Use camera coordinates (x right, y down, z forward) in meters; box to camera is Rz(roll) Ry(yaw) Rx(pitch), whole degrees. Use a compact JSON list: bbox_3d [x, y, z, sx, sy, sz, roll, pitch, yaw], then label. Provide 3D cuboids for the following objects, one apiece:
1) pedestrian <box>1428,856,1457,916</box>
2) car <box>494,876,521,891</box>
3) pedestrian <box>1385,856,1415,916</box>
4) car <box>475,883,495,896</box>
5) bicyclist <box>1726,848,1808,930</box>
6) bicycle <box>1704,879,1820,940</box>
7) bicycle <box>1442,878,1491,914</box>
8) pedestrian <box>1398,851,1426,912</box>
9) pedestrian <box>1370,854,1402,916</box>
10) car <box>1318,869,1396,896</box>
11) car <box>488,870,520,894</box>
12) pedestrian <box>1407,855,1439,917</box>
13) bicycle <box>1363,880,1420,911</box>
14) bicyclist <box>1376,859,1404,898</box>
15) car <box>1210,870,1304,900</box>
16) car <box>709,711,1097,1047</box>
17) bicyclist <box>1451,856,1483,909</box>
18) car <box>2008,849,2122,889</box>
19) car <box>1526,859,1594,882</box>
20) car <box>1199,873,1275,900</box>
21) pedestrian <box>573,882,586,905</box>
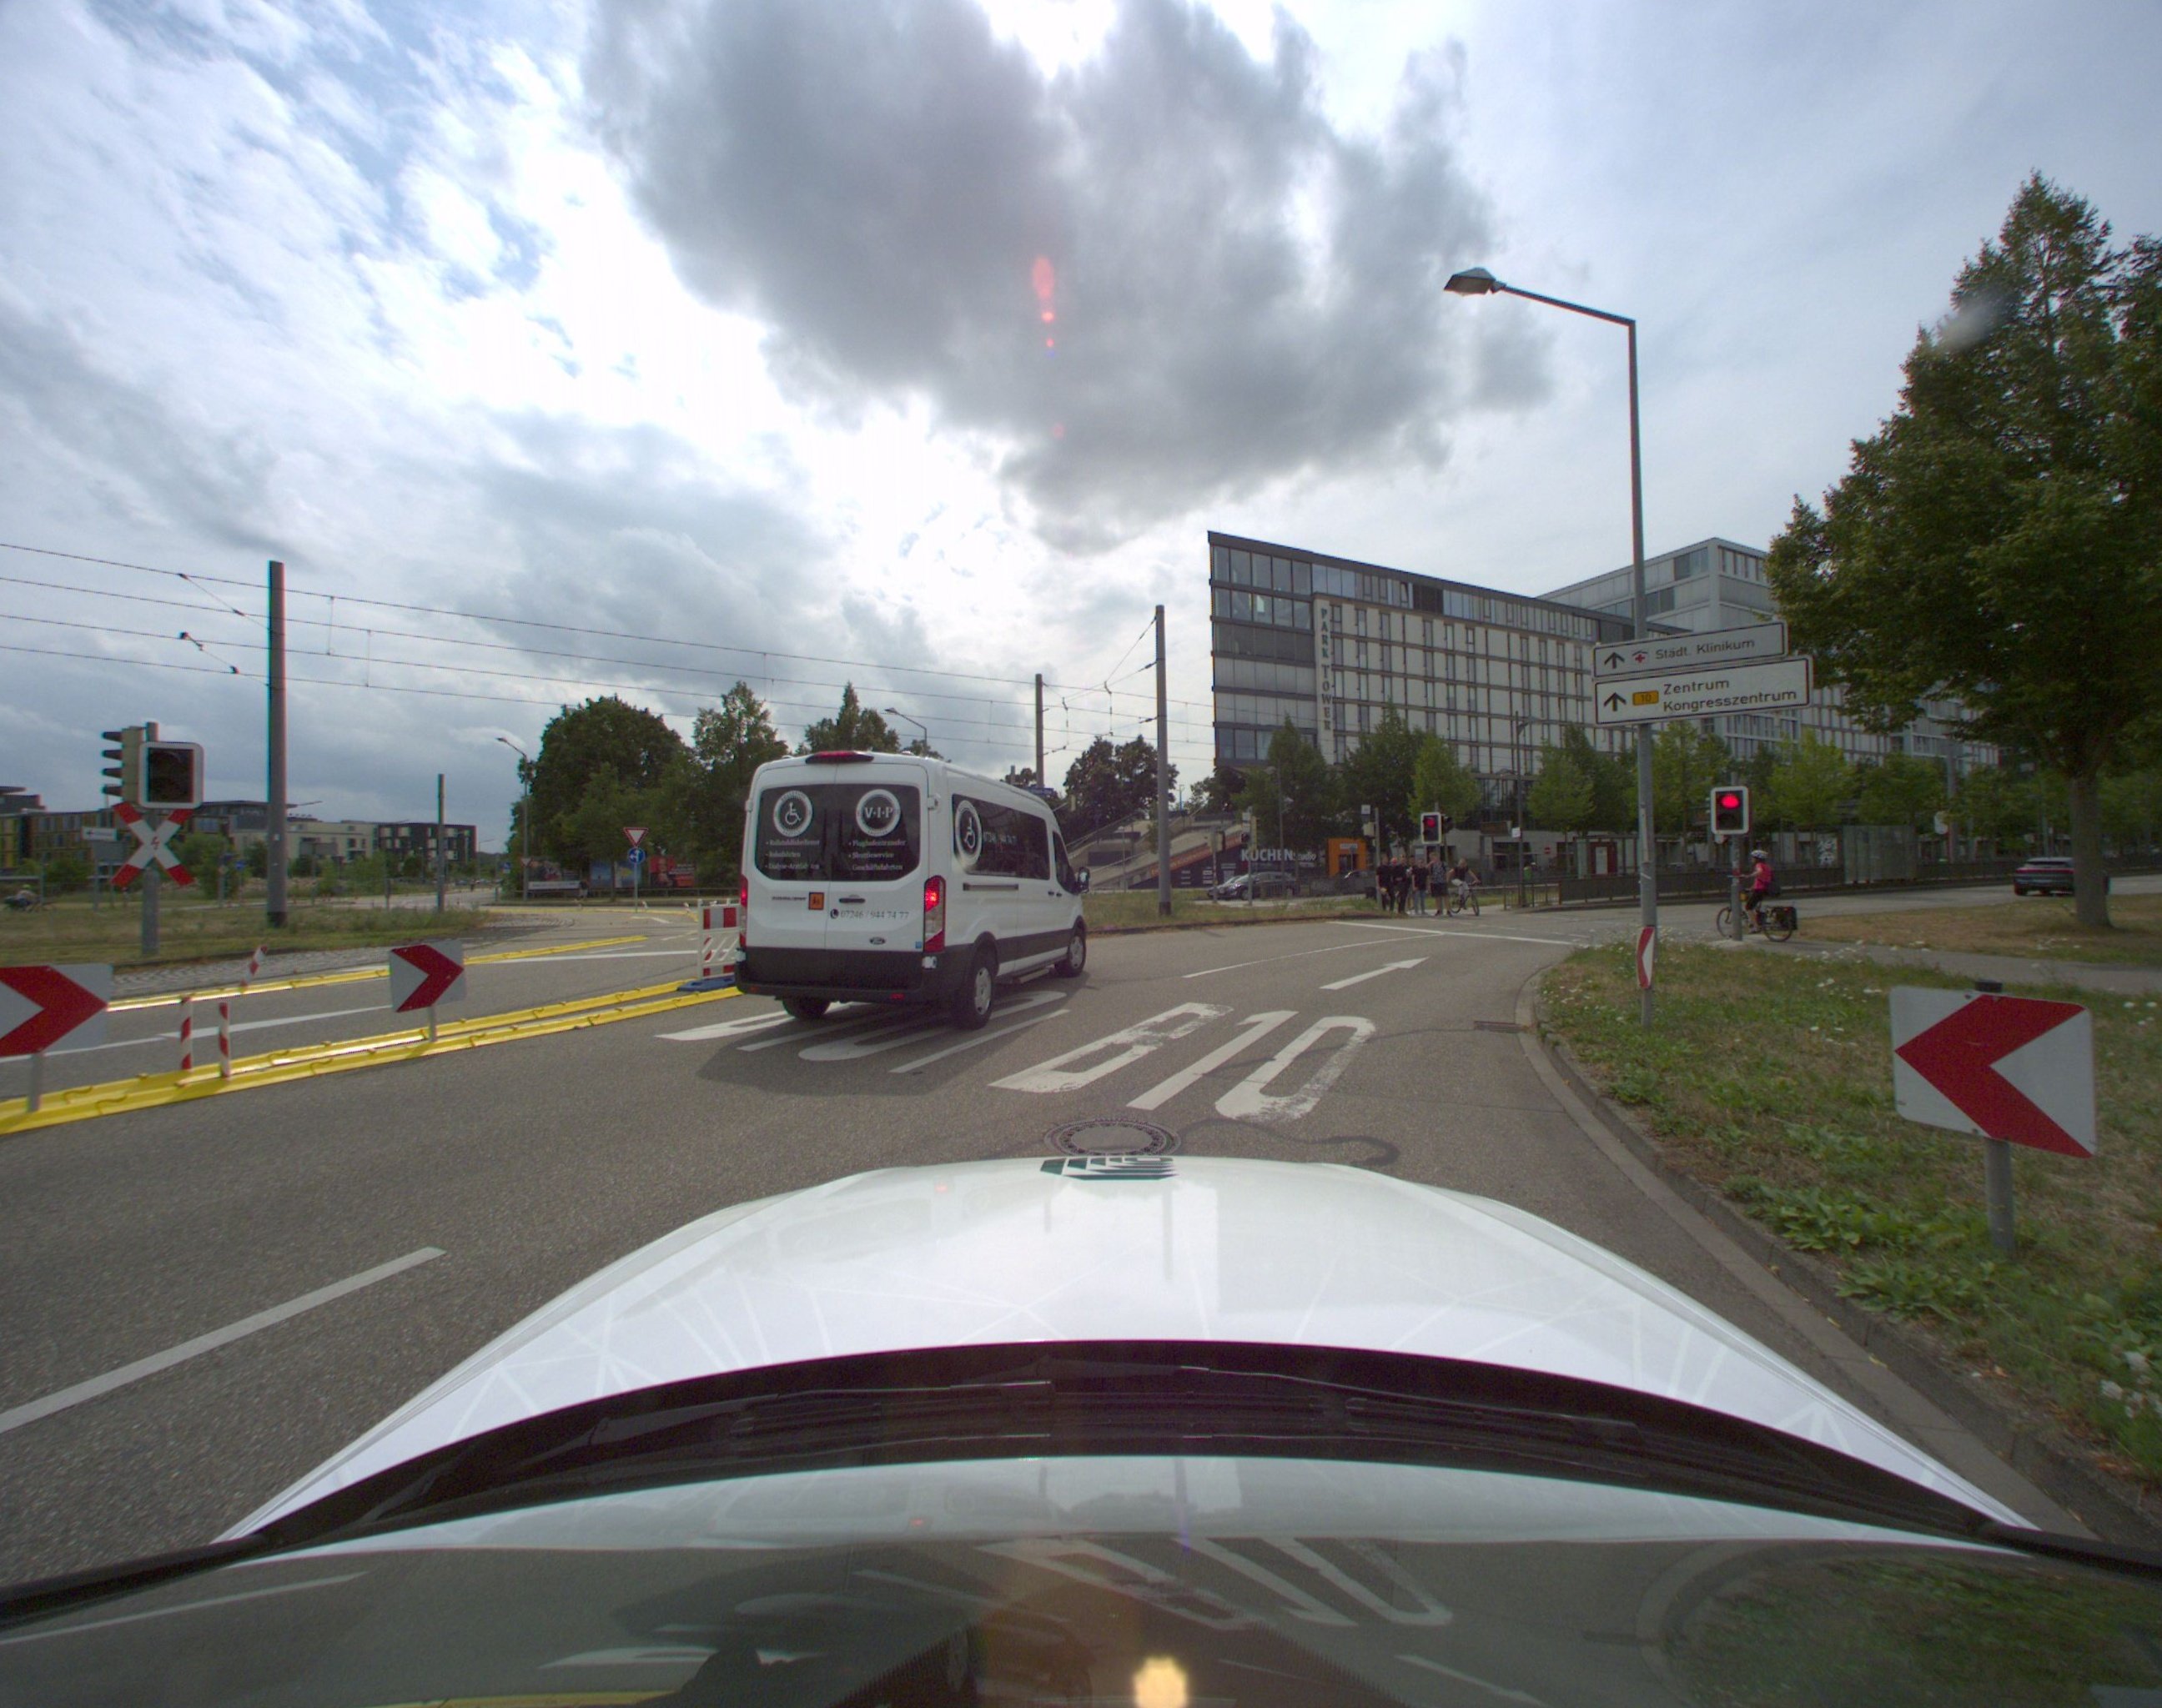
[{"bbox_3d":[10.825,0.946,24.381,0.582,1.781,0.547,0,-1,-31],"label":"pedestrian"},{"bbox_3d":[-73.783,3.801,104.813,2.003,1.849,3.967,0,-3,-24],"label":"car"},{"bbox_3d":[9.622,0.954,24.555,0.635,1.781,0.547,0,-1,-31],"label":"pedestrian"},{"bbox_3d":[-91.841,5.467,125.507,2.006,1.849,3.960,1,-3,-30],"label":"car"},{"bbox_3d":[14.164,0.718,16.847,0.785,1.627,1.050,-1,-1,4],"label":"bicyclist"},{"bbox_3d":[14.193,1.127,17.058,0.785,1.168,2.043,-1,-1,4],"label":"bicycle"},{"bbox_3d":[11.884,1.282,25.149,0.546,1.058,1.709,0,-1,-7],"label":"bicycle"},{"bbox_3d":[10.154,0.836,24.980,0.533,1.862,0.547,0,-1,-31],"label":"pedestrian"},{"bbox_3d":[9.040,0.909,24.103,0.692,1.781,0.547,0,-1,-31],"label":"pedestrian"},{"bbox_3d":[15.835,1.591,46.721,4.005,1.458,1.834,0,-1,-24],"label":"car"},{"bbox_3d":[-50.461,2.436,71.152,2.010,2.014,3.953,1,-4,-39],"label":"car"},{"bbox_3d":[10.148,0.938,24.162,0.692,1.781,0.547,0,-1,-31],"label":"pedestrian"},{"bbox_3d":[10.699,1.423,28.100,0.657,1.007,1.735,0,-1,-40],"label":"bicycle"},{"bbox_3d":[10.673,0.852,28.138,0.643,1.317,0.667,0,-2,-40],"label":"bicyclist"},{"bbox_3d":[9.355,1.619,43.245,4.744,1.458,1.834,0,-1,-24],"label":"car"},{"bbox_3d":[-1.494,0.265,9.512,2.111,2.698,5.652,-2,-1,14],"label":"car"},{"bbox_3d":[11.891,0.868,25.105,0.558,1.581,0.763,0,-1,-7],"label":"bicyclist"},{"bbox_3d":[41.009,0.610,33.925,4.484,1.551,2.046,-1,-1,-27],"label":"car"},{"bbox_3d":[31.453,1.085,53.480,4.005,1.458,1.834,0,-1,-24],"label":"car"},{"bbox_3d":[9.018,1.873,47.141,4.005,1.458,1.834,0,-1,-24],"label":"car"},{"bbox_3d":[-35.385,2.768,57.471,0.444,1.594,0.674,-1,-1,14],"label":"pedestrian"}]
